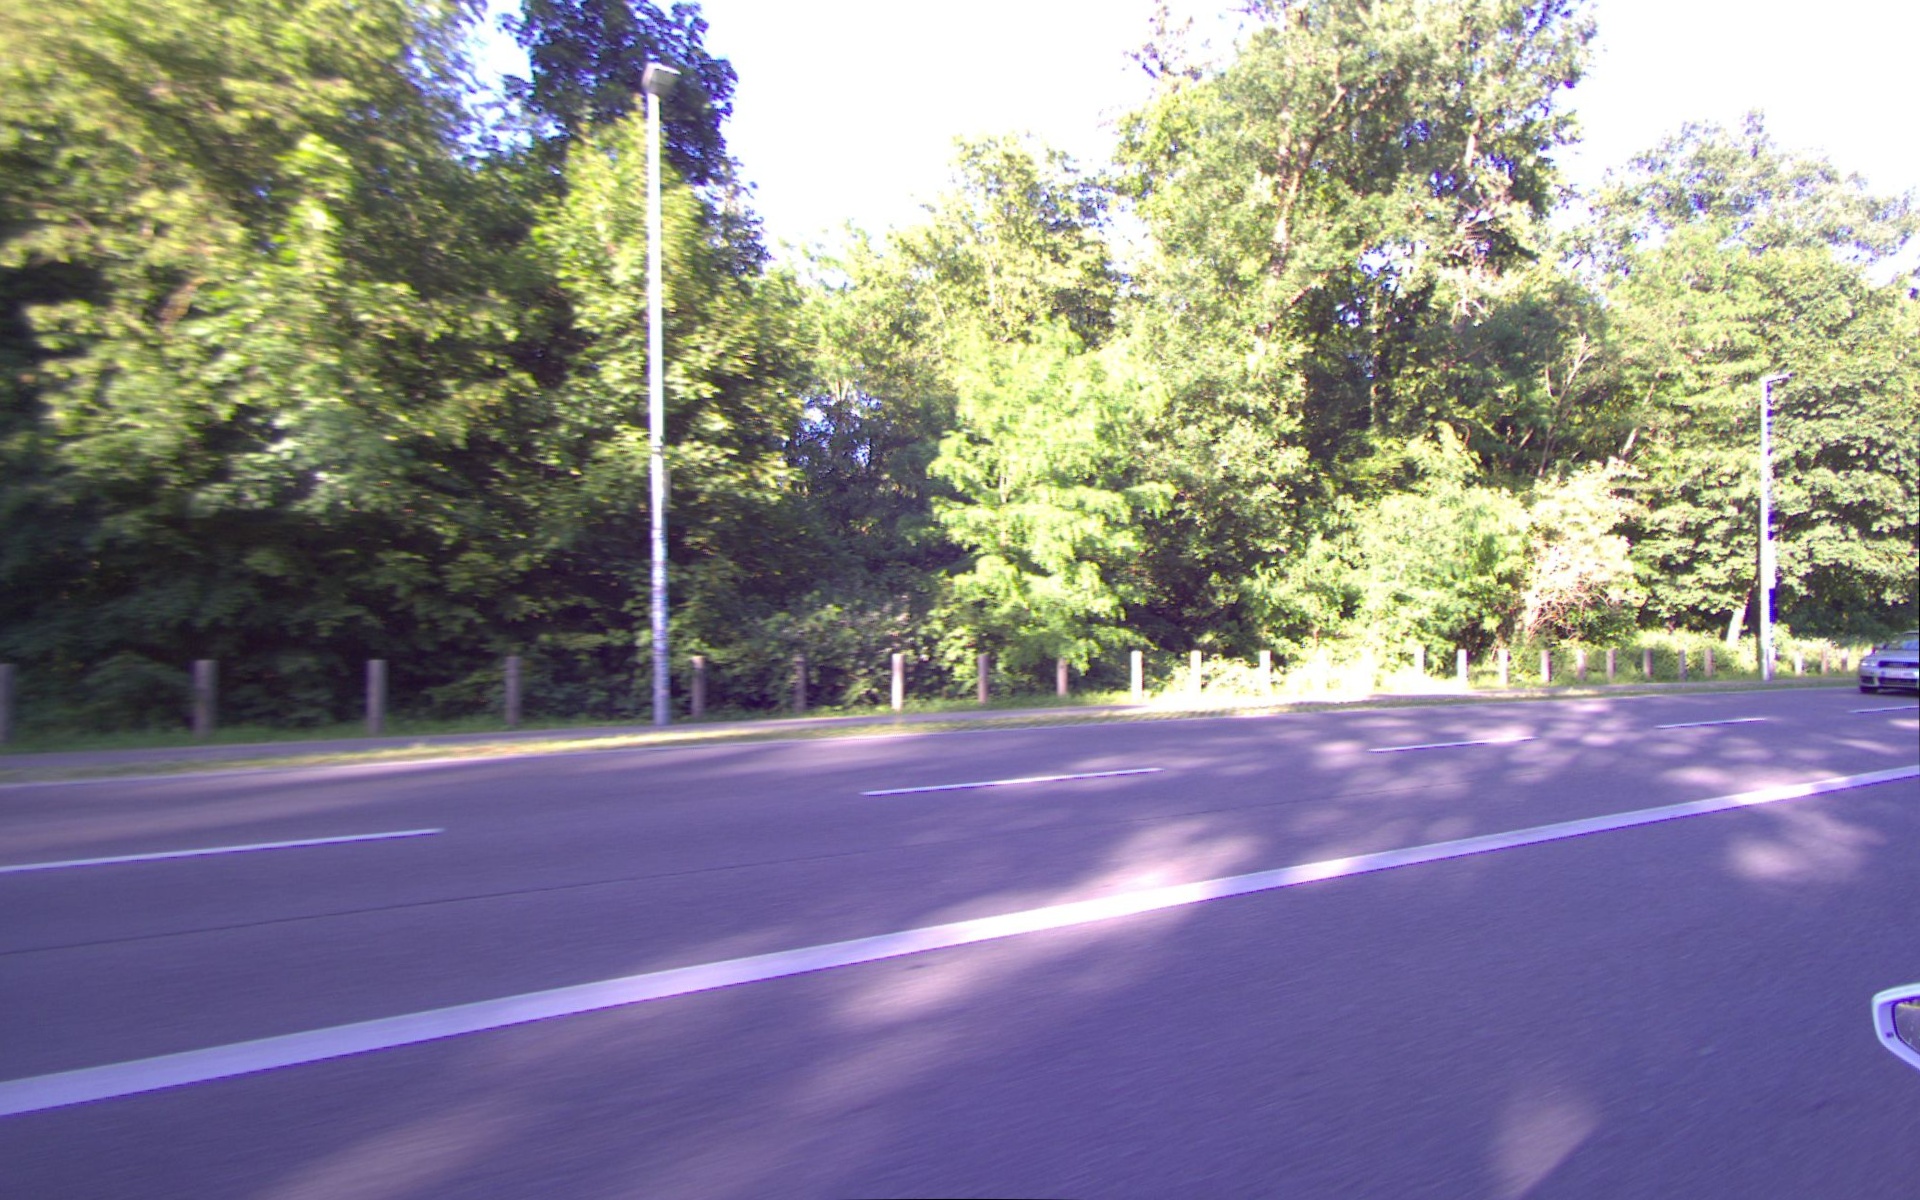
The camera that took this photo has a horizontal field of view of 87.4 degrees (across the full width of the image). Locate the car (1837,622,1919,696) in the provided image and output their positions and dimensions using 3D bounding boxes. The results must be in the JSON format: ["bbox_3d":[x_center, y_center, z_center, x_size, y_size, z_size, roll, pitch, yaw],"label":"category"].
[{"bbox_3d":[20.698,1.200,21.289,4.111,1.427,1.773,0,0,-27],"label":"car"}]
